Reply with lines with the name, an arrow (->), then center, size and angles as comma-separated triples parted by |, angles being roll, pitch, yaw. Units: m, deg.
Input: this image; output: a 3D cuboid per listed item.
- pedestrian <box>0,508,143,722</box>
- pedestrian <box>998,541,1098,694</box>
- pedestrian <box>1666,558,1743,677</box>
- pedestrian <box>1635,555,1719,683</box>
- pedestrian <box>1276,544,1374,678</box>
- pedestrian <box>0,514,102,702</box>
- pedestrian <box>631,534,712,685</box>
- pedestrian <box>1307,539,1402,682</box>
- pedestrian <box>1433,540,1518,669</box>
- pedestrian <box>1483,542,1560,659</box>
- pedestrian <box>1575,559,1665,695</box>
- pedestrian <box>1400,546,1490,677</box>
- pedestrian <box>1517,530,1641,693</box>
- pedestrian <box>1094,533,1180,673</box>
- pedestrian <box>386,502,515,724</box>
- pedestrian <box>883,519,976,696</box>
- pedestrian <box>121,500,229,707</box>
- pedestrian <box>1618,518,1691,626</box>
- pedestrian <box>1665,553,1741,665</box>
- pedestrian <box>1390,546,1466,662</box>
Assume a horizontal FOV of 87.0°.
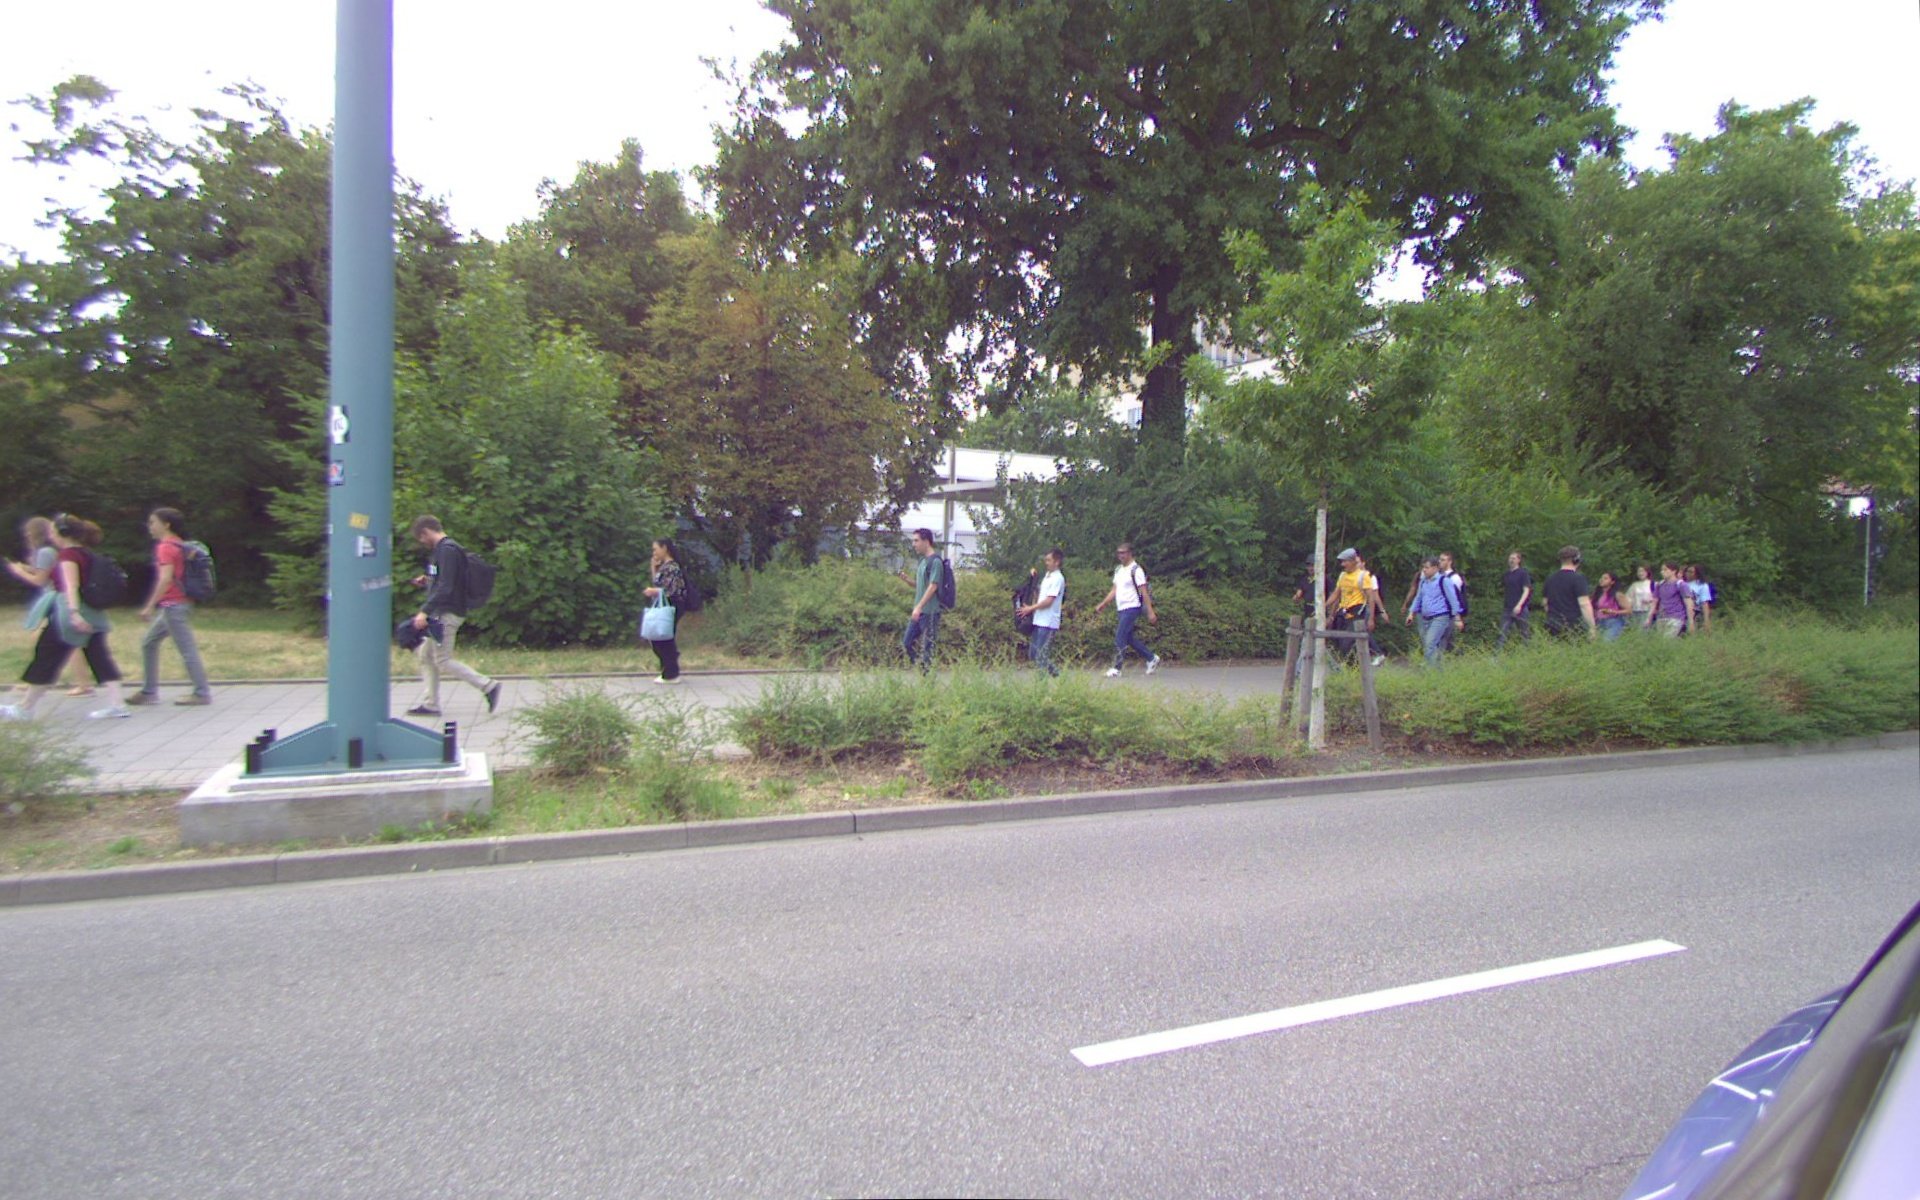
pedestrian -> -7.266, 0.110, 8.303 | 0.737, 1.675, 0.559 | 1, 2, -22
pedestrian -> 0.962, 0.174, 11.215 | 0.795, 1.622, 0.780 | 1, 2, -22
pedestrian -> 11.337, 0.255, 15.418 | 0.773, 1.766, 0.584 | 1, 2, -24
pedestrian -> 10.219, 0.259, 14.428 | 0.764, 1.766, 0.627 | 1, 2, -24
pedestrian -> 4.753, 0.126, 13.196 | 0.951, 1.687, 0.660 | 1, 2, -24
pedestrian -> -8.307, 0.063, 9.214 | 0.639, 1.653, 0.470 | 1, 2, -22
pedestrian -> -3.203, 0.093, 11.210 | 0.769, 1.603, 0.639 | 1, 2, -22
pedestrian -> 4.881, 0.117, 12.552 | 0.824, 1.710, 0.660 | 1, 2, -24
pedestrian -> 7.431, 0.067, 14.599 | 0.938, 1.789, 0.660 | 1, -1, -24
pedestrian -> 8.707, 0.001, 15.704 | 0.764, 1.766, 0.660 | 1, 2, -24
pedestrian -> 8.920, 0.344, 13.683 | 0.764, 1.766, 0.660 | 1, 2, -24
pedestrian -> 6.354, 0.136, 13.278 | 0.795, 1.668, 0.660 | 1, 2, -24
pedestrian -> 7.384, 0.115, 12.123 | 0.871, 1.853, 0.936 | 2, 1, 5
pedestrian -> 2.300, 0.032, 13.228 | 0.795, 1.766, 0.725 | 1, 2, -22
pedestrian -> -4.445, 0.098, 8.891 | 0.934, 1.843, 0.697 | 1, 2, -22
pedestrian -> -0.339, 0.065, 10.987 | 0.795, 1.843, 0.659 | 1, 2, -22
pedestrian -> -7.024, 0.025, 9.075 | 0.650, 1.785, 0.487 | 1, 2, -22
pedestrian -> 11.695, -0.472, 17.055 | 0.764, 1.766, 0.660 | 1, 2, -24
pedestrian -> 12.061, 0.137, 16.436 | 0.764, 1.766, 0.660 | 1, 2, -24
pedestrian -> 7.114, 0.051, 15.399 | 0.764, 1.720, 0.660 | 1, 2, -24
